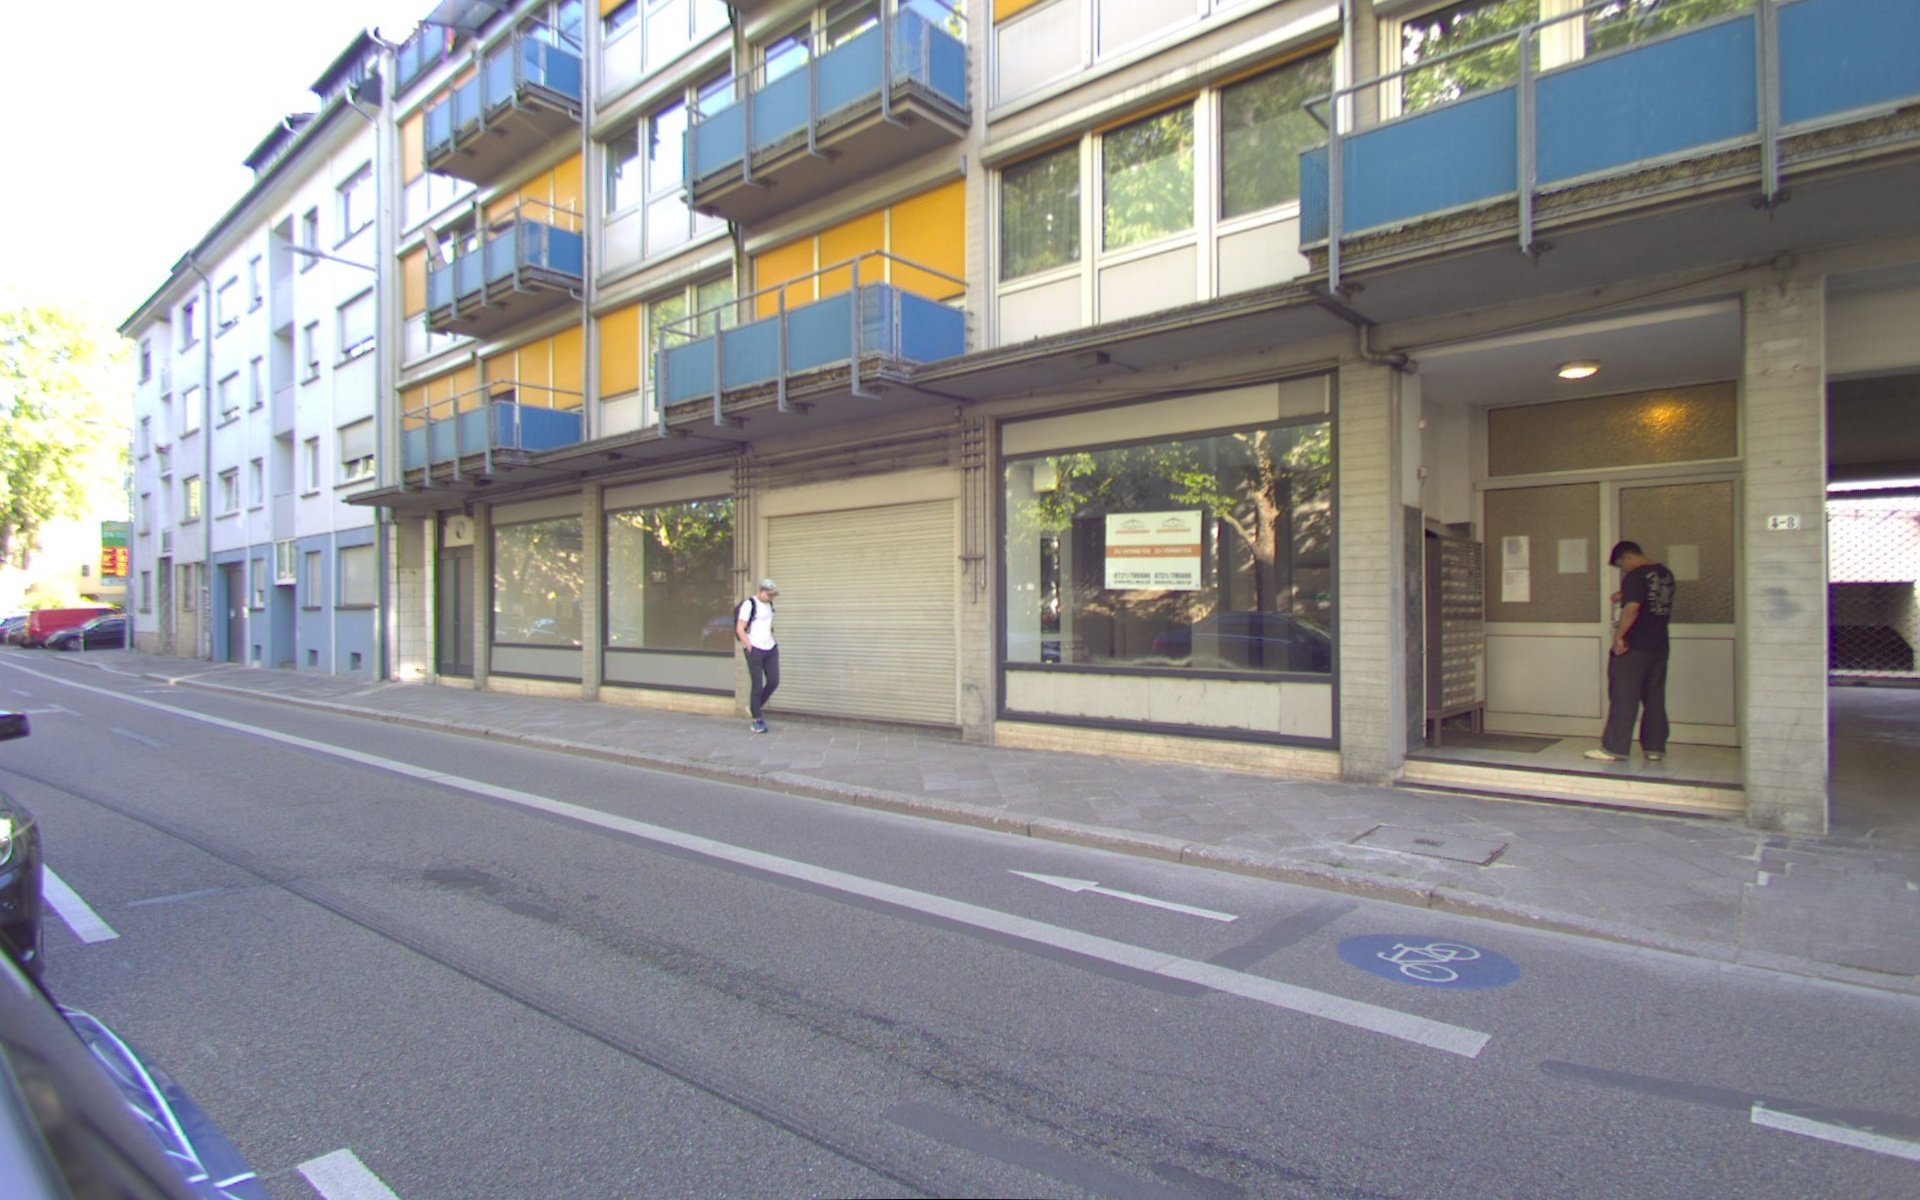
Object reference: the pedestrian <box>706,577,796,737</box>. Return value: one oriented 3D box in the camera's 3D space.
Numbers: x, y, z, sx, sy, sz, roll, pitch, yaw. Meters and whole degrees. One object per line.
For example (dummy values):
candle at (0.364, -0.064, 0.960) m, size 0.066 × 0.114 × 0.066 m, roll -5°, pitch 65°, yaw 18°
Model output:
pedestrian at (-2.483, 0.653, 11.997) m, size 0.879 × 1.813 × 0.593 m, roll -1°, pitch 0°, yaw 41°

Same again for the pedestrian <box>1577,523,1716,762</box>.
pedestrian at (5.196, 0.307, 7.681) m, size 0.650 × 1.726 × 0.550 m, roll 0°, pitch -1°, yaw -16°

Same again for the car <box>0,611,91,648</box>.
car at (-57.393, 1.830, 62.854) m, size 1.999 × 2.210 × 4.927 m, roll -1°, pitch -1°, yaw 41°

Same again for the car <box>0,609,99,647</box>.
car at (-55.400, 1.680, 61.145) m, size 1.999 × 2.210 × 4.927 m, roll -1°, pitch -1°, yaw 41°

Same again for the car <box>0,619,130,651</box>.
car at (-45.719, 1.757, 51.695) m, size 1.999 × 1.506 × 4.927 m, roll -1°, pitch -1°, yaw 41°

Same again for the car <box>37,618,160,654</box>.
car at (-39.750, 1.638, 46.777) m, size 1.999 × 1.506 × 4.093 m, roll -1°, pitch -1°, yaw 41°

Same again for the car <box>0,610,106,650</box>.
car at (-53.312, 1.744, 59.194) m, size 1.999 × 2.210 × 4.927 m, roll -1°, pitch -1°, yaw 41°

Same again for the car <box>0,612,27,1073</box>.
car at (-5.040, 0.805, 3.865) m, size 3.861 × 1.467 × 1.718 m, roll -1°, pitch -1°, yaw 40°

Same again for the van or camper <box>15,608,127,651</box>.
van or camper at (-43.886, 1.437, 50.003) m, size 1.999 × 2.029 × 3.946 m, roll -1°, pitch -1°, yaw 40°

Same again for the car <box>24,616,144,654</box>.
car at (-41.630, 1.626, 48.161) m, size 1.999 × 1.703 × 4.093 m, roll -1°, pitch -1°, yaw 41°
